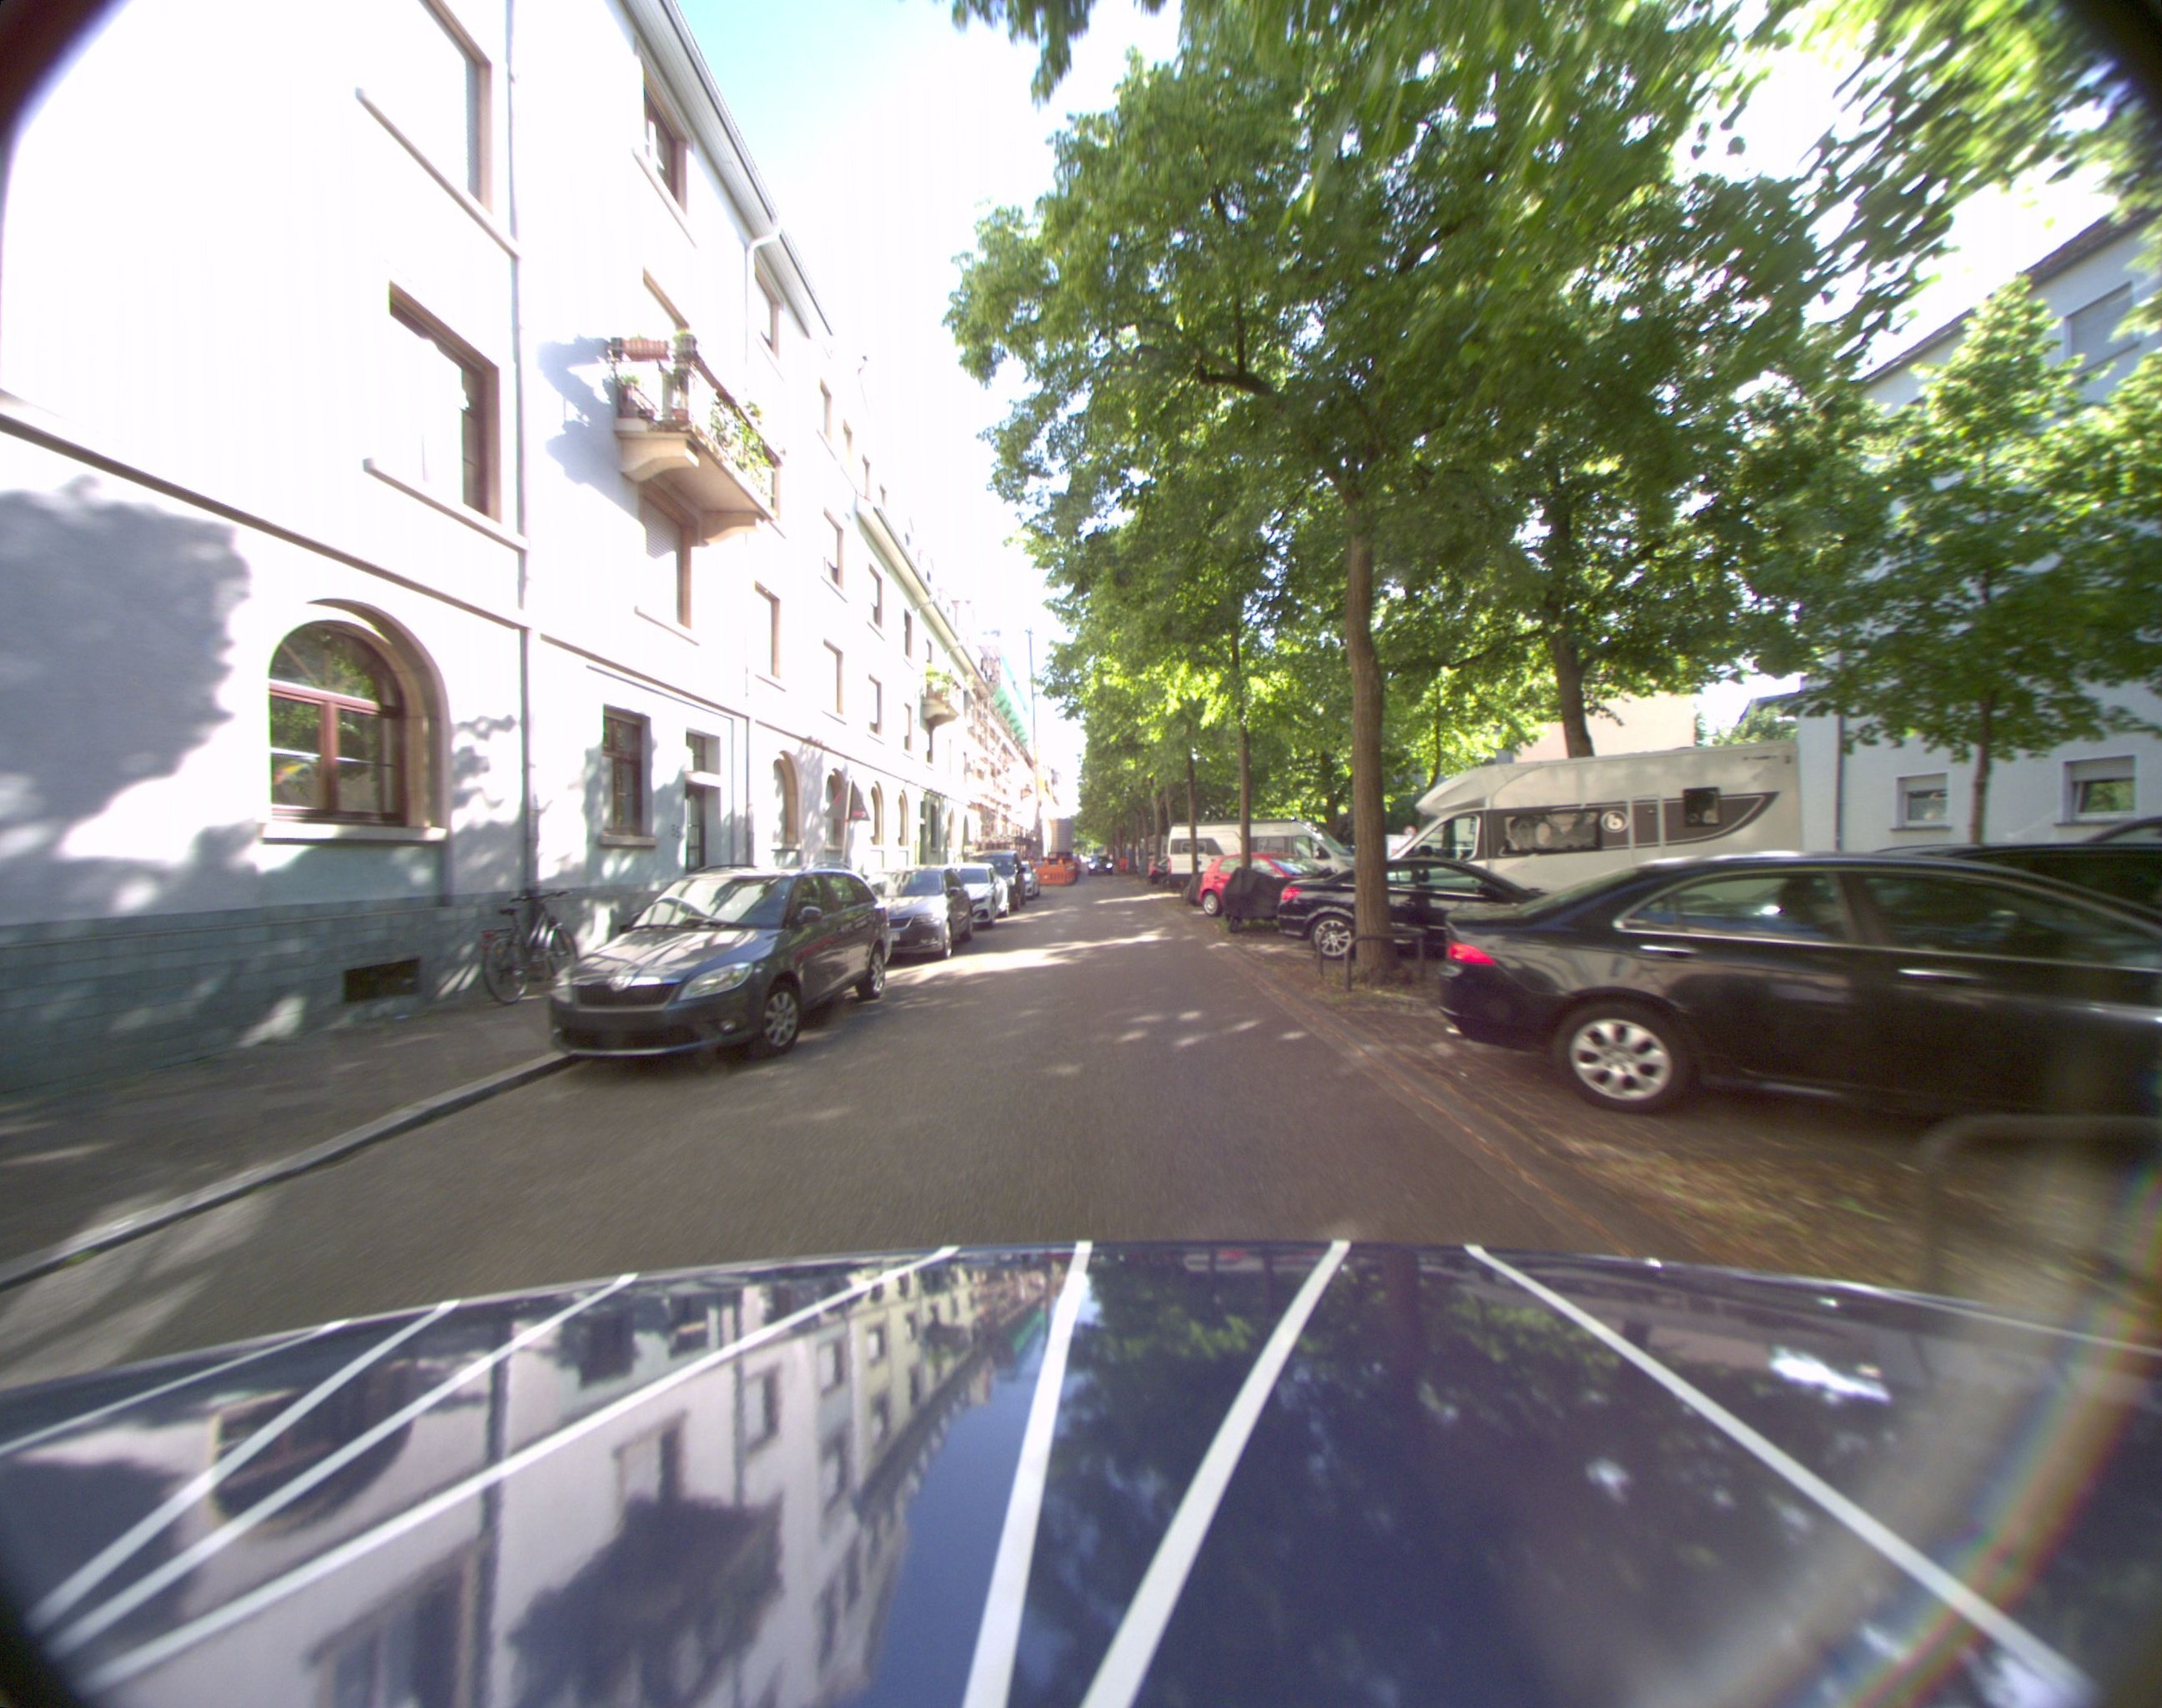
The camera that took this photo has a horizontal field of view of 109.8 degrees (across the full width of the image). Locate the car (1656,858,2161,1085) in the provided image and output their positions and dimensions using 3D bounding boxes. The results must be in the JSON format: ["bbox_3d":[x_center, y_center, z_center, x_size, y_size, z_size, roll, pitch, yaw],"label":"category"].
[{"bbox_3d":[7.345,0.817,6.116,3.991,1.477,1.833,-1,1,22],"label":"car"}]

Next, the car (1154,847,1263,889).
[{"bbox_3d":[5.318,0.598,31.854,4.090,1.516,1.705,-5,-2,31],"label":"car"}]

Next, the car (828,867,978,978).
[{"bbox_3d":[-2.776,0.997,12.677,1.603,1.484,3.966,0,0,-1],"label":"car"}]

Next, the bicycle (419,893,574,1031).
[{"bbox_3d":[-6.021,1.045,7.958,0.408,1.179,1.847,-1,0,-8],"label":"bicycle"}]

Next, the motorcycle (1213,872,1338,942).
[{"bbox_3d":[3.526,0.960,13.992,2.151,1.222,0.882,-1,0,10],"label":"motorcycle"}]

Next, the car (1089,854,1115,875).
[{"bbox_3d":[1.571,0.780,56.540,1.792,1.510,4.001,0,0,3],"label":"car"}]

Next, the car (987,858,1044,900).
[{"bbox_3d":[-2.452,0.904,29.362,1.709,1.502,4.284,0,0,1],"label":"car"}]

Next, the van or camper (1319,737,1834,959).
[{"bbox_3d":[7.346,-0.010,12.198,6.290,2.808,2.412,-2,1,30],"label":"van or camper"}]

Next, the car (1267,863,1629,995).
[{"bbox_3d":[4.836,0.862,10.310,4.146,1.417,1.718,0,1,33],"label":"car"}]

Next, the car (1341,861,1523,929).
[{"bbox_3d":[9.122,0.995,19.829,4.126,1.478,1.836,0,3,31],"label":"car"}]

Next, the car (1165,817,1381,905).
[{"bbox_3d":[6.120,0.227,24.606,6.310,2.544,2.342,-1,1,33],"label":"car"}]

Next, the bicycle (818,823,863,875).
[{"bbox_3d":[-5.780,-0.116,18.338,0.395,1.174,1.984,-1,0,1],"label":"bicycle"}]

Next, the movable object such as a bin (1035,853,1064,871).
[{"bbox_3d":[-2.719,0.670,65.947,1.872,1.518,1.631,0,0,35],"label":"movable object such as a bin"}]

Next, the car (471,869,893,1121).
[{"bbox_3d":[-3.107,0.966,6.977,1.584,1.541,4.042,-1,0,2],"label":"car"}]

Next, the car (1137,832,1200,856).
[{"bbox_3d":[9.038,-1.010,78.644,6.185,2.497,2.143,0,0,28],"label":"car"}]

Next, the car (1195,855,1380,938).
[{"bbox_3d":[4.419,0.831,16.829,1.666,1.608,3.871,0,0,-31],"label":"car"}]

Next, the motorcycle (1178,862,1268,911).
[{"bbox_3d":[3.986,0.902,21.457,2.326,1.327,0.968,0,0,-8],"label":"motorcycle"}]

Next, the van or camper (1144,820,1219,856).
[{"bbox_3d":[8.696,-1.354,65.961,6.017,2.984,2.404,0,0,29],"label":"van or camper"}]

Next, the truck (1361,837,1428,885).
[{"bbox_3d":[16.368,0.343,39.943,1.926,2.395,4.264,0,0,3],"label":"truck"}]

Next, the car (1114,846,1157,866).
[{"bbox_3d":[6.008,0.252,83.947,4.386,2.155,1.774,0,0,28],"label":"car"}]

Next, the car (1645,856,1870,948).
[{"bbox_3d":[16.333,1.061,18.680,1.998,2.002,4.000,0,0,1],"label":"car"}]

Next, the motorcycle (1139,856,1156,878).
[{"bbox_3d":[4.163,0.785,47.572,0.631,1.317,2.231,-2,0,16],"label":"motorcycle"}]

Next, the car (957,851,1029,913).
[{"bbox_3d":[-2.630,0.792,23.638,1.776,1.783,3.989,0,0,0],"label":"car"}]

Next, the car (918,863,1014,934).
[{"bbox_3d":[-2.606,0.958,18.202,1.611,1.412,4.568,0,0,0],"label":"car"}]

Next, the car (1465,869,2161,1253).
[{"bbox_3d":[4.389,0.859,3.987,4.008,1.465,1.630,0,0,36],"label":"car"}]
